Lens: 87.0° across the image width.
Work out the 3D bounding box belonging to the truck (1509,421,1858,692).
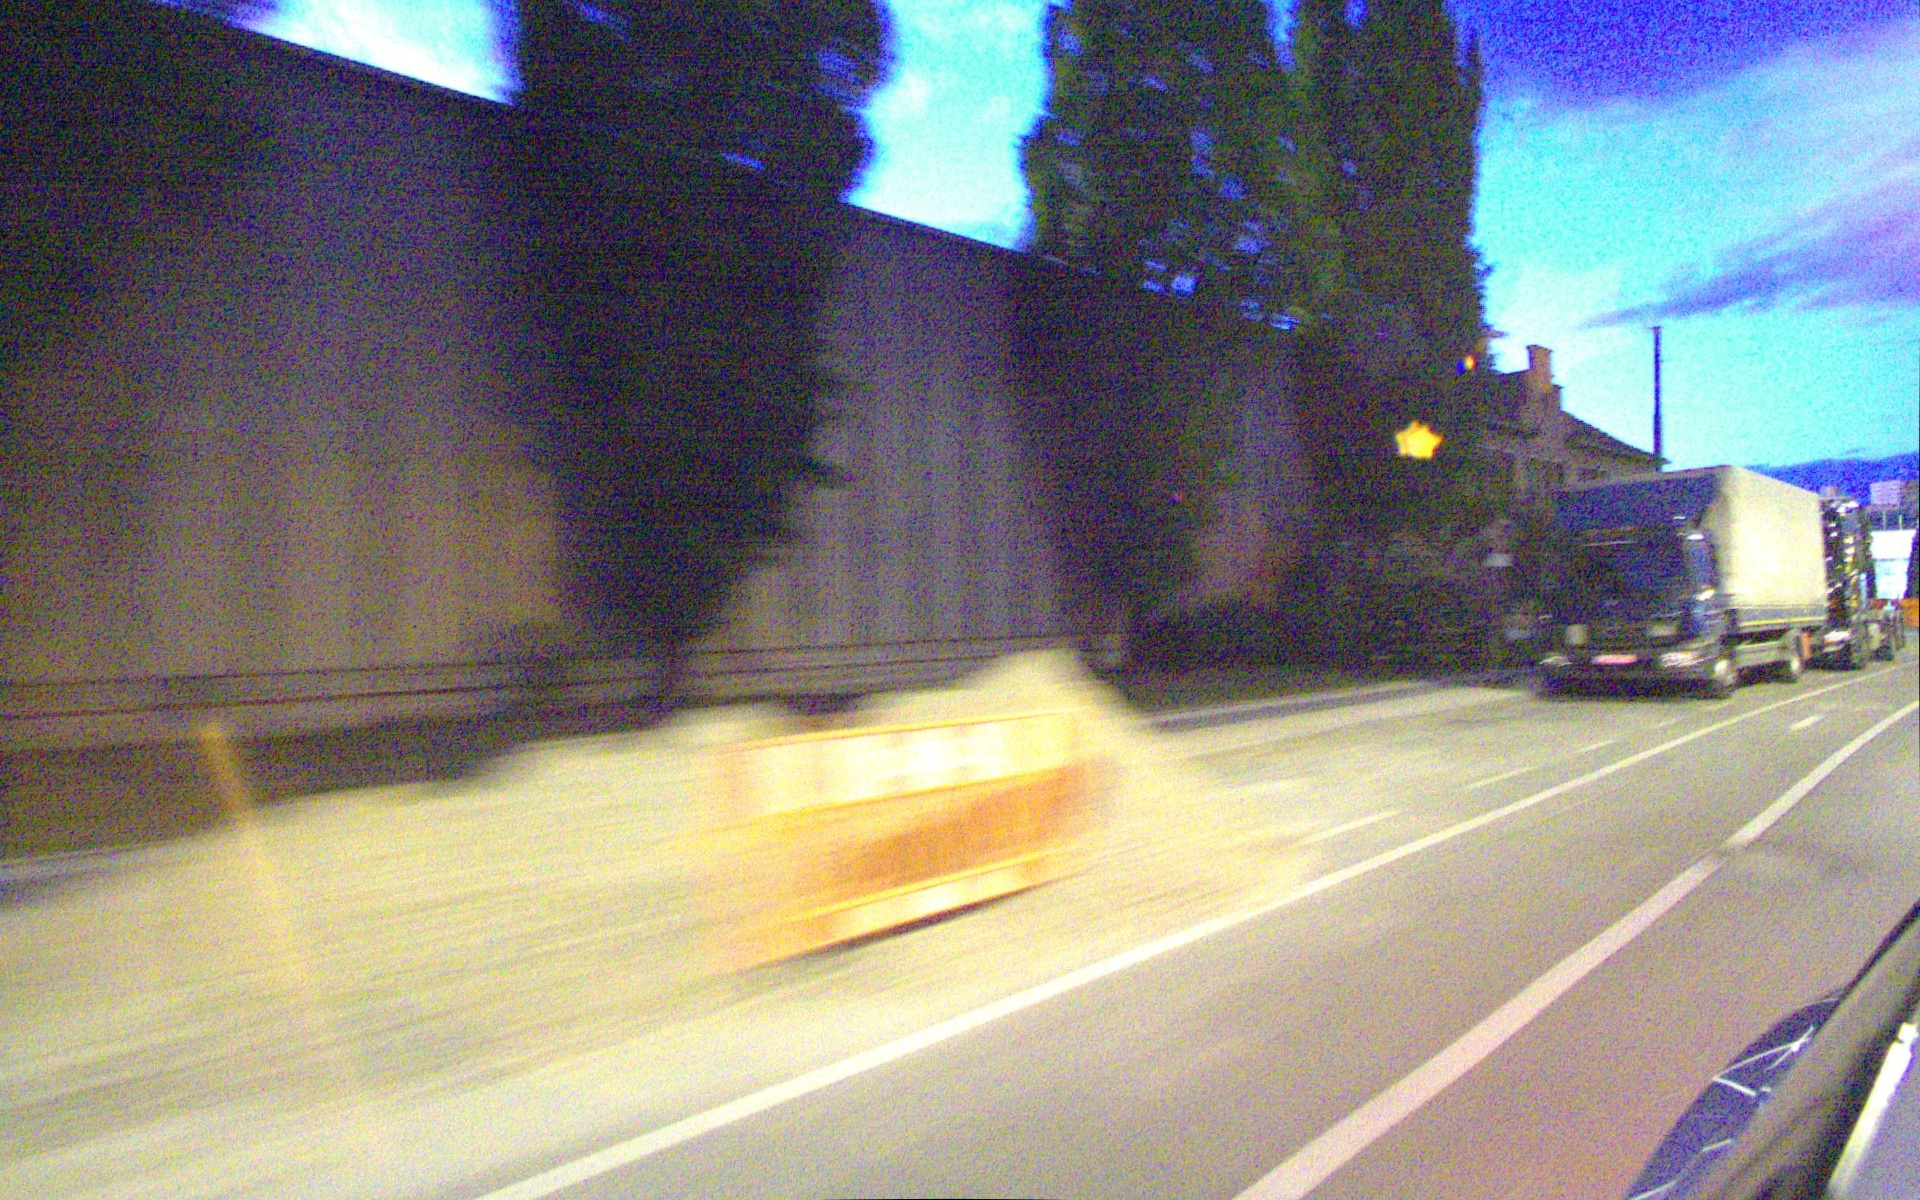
[{"bbox_3d":[13.676,-0.691,18.614,10.045,3.831,2.760,-1,0,-40],"label":"truck"}]

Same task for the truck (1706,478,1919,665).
[{"bbox_3d":[21.193,-0.645,24.613,8.975,3.831,2.760,-1,0,-40],"label":"truck"}]

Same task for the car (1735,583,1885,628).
[{"bbox_3d":[33.676,0.183,40.188,1.859,1.667,4.335,0,1,-40],"label":"car"}]
